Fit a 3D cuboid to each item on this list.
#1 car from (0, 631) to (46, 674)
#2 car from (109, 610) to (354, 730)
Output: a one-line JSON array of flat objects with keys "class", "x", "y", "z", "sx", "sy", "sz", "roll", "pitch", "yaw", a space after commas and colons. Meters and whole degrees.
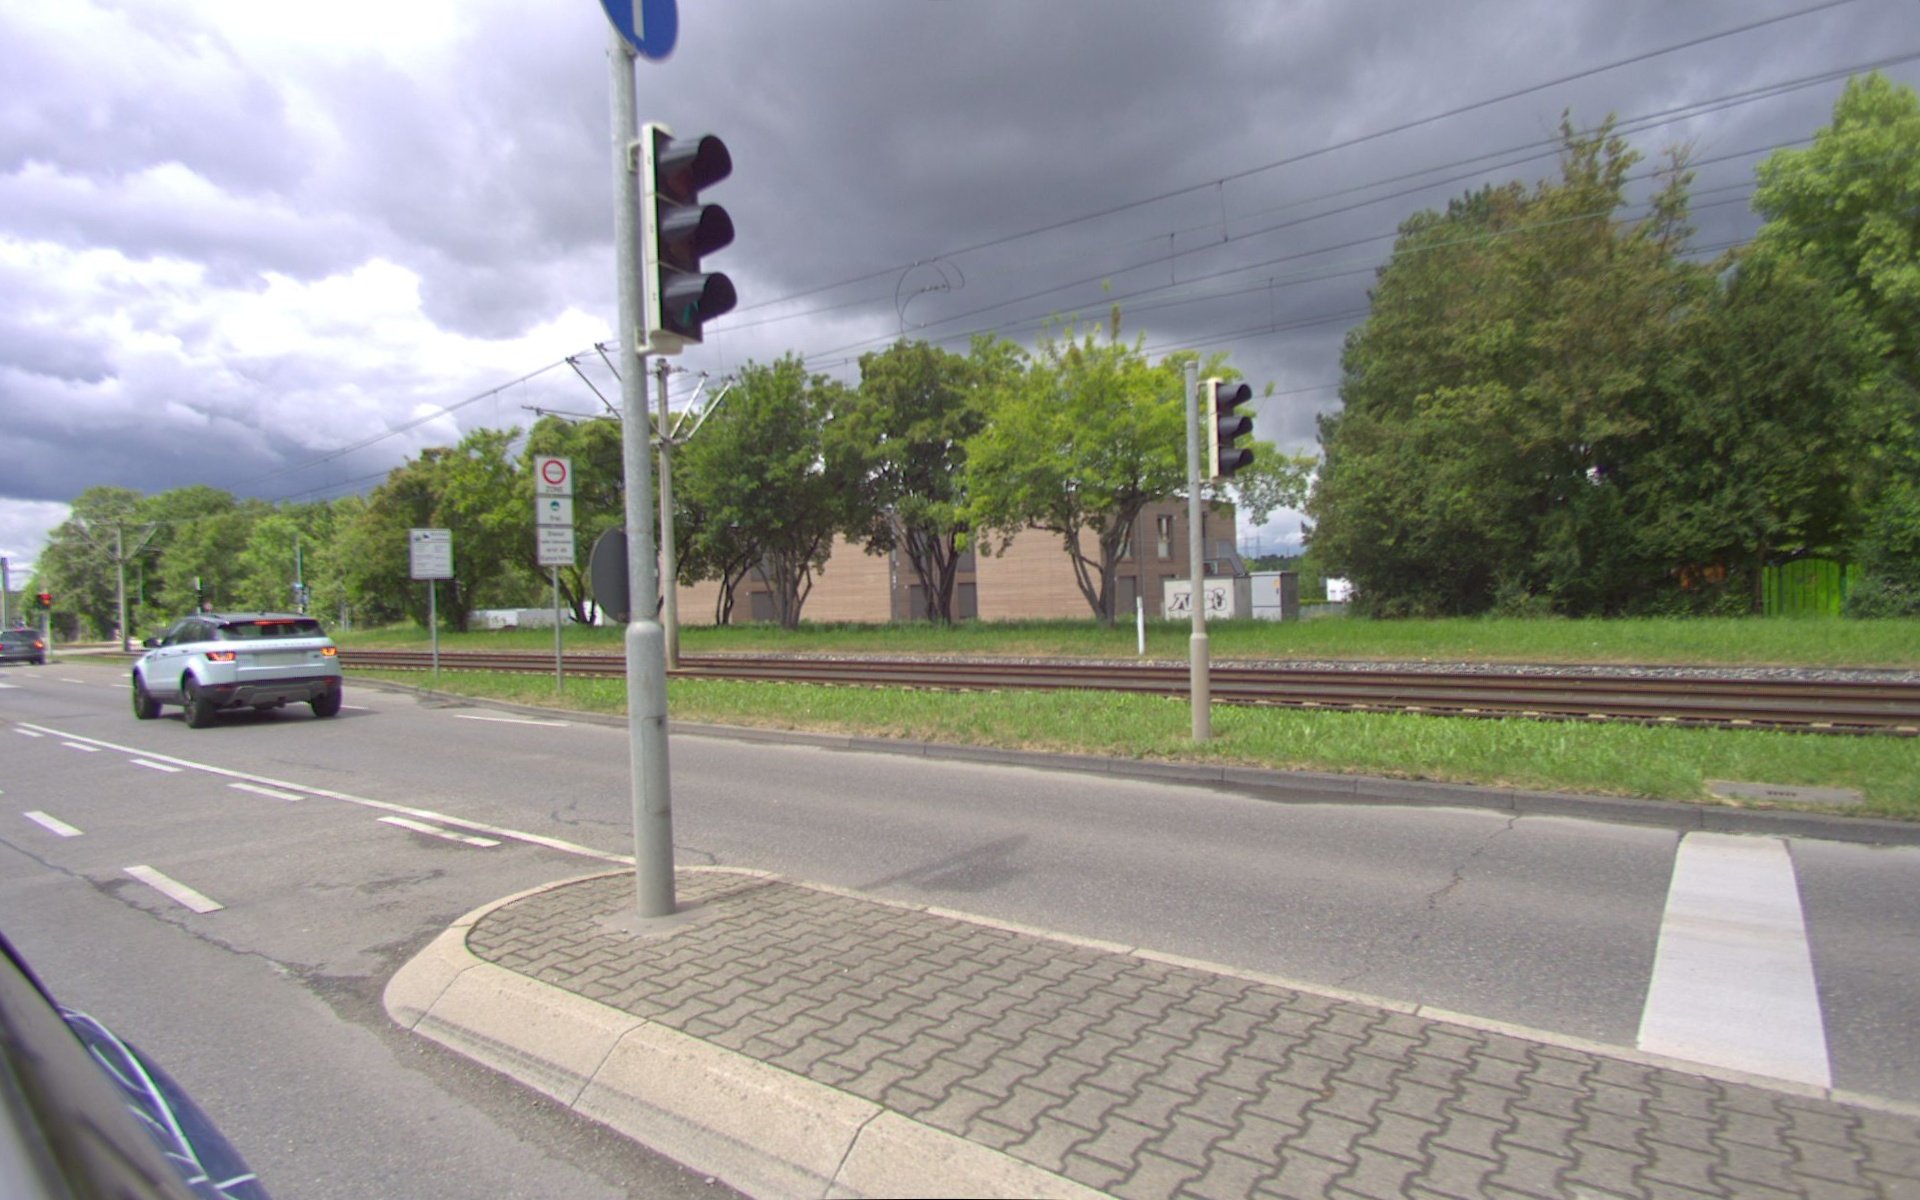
[{"class": "car", "x": -42.025, "y": 2.294, "z": 44.619, "sx": 4.520, "sy": 1.672, "sz": 1.973, "roll": -1, "pitch": 1, "yaw": 41}, {"class": "car", "x": -11.506, "y": 1.001, "z": 15.878, "sx": 4.599, "sy": 1.622, "sz": 1.843, "roll": -1, "pitch": -1, "yaw": 37}]
